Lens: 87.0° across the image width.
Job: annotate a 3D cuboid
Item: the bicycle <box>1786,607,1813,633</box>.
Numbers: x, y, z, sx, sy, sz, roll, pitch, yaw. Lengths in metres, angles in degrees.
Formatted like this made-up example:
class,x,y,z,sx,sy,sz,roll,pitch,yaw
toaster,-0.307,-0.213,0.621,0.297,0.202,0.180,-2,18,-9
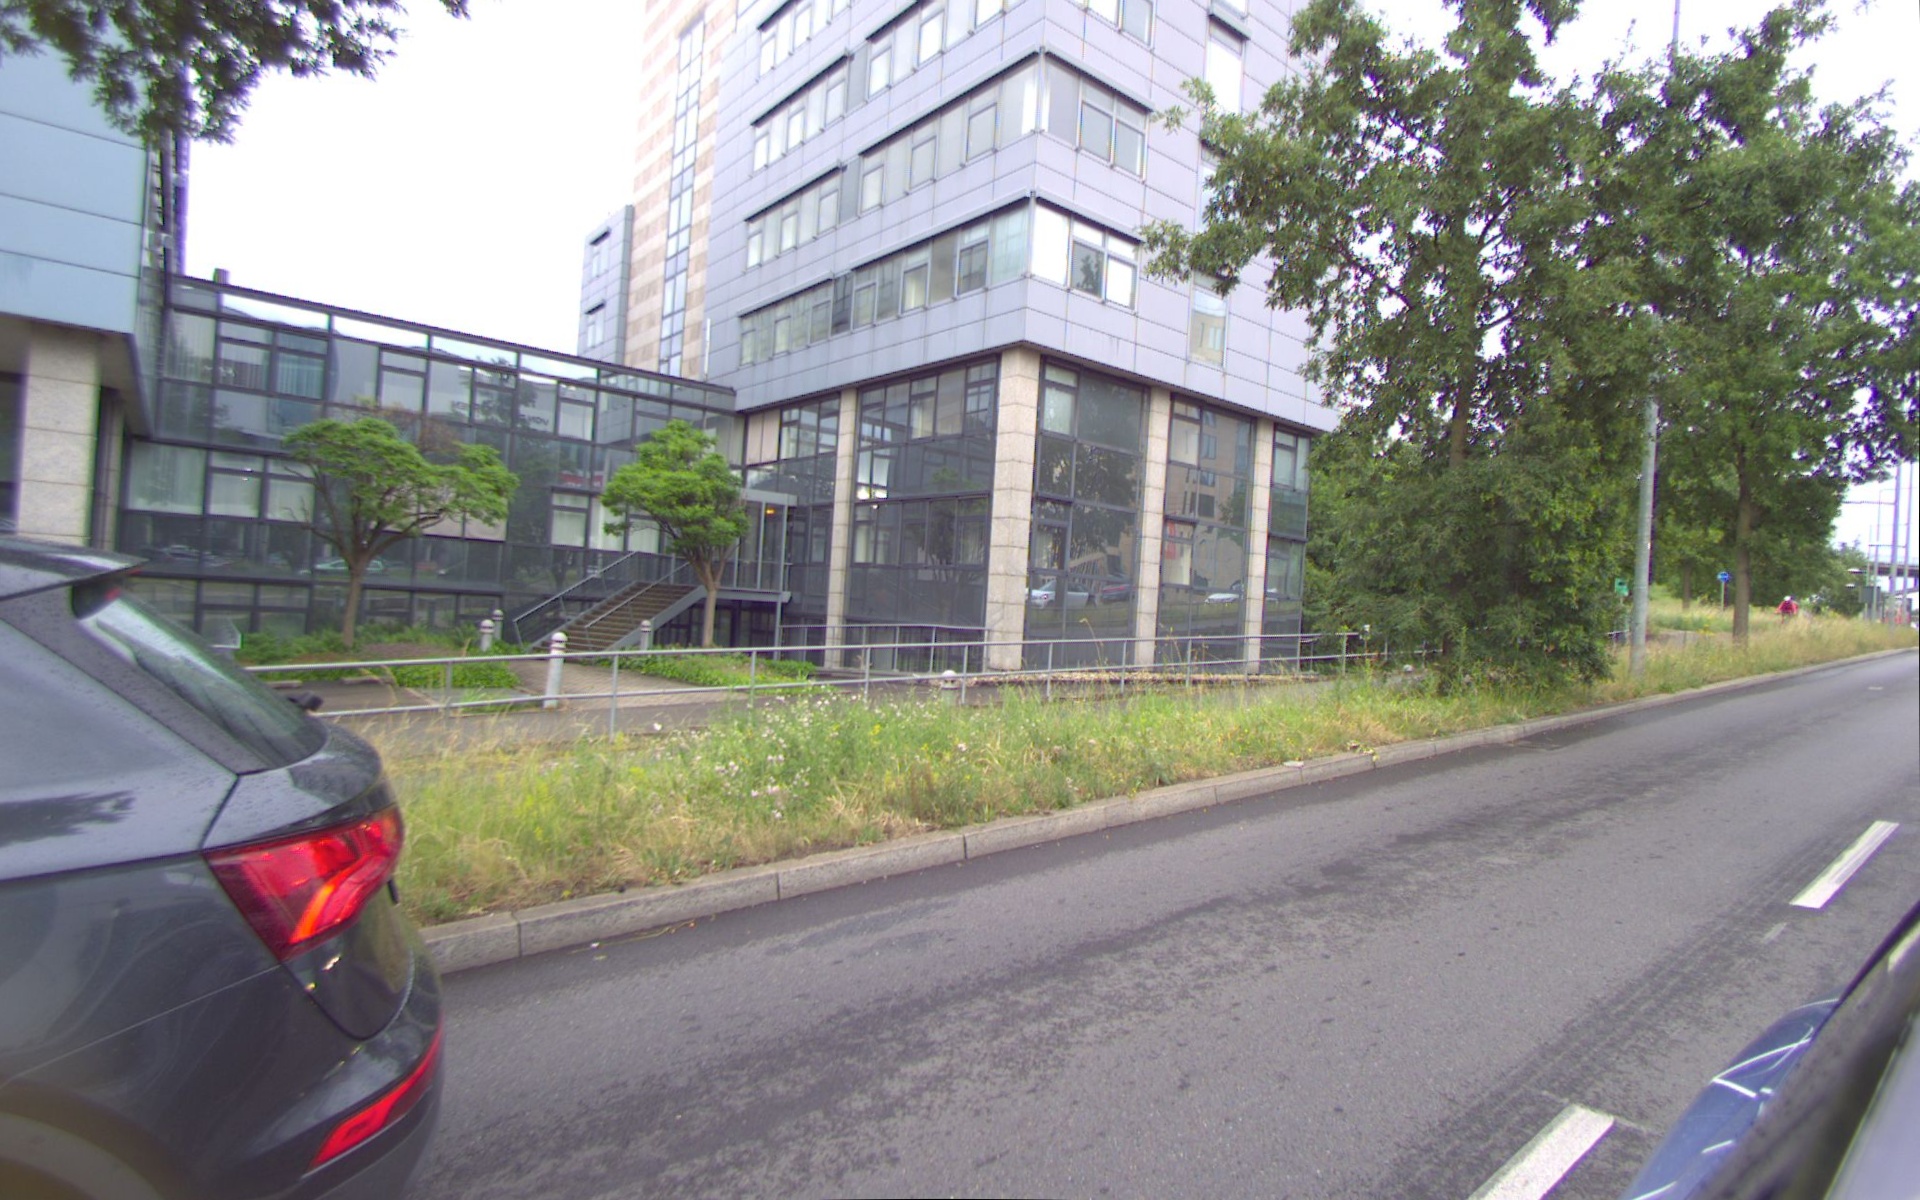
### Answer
class,x,y,z,sx,sy,sz,roll,pitch,yaw
bicycle,36.474,0.876,43.957,1.872,1.102,0.581,1,-1,-41

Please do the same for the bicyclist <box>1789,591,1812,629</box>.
class,x,y,z,sx,sy,sz,roll,pitch,yaw
bicyclist,36.487,0.435,43.946,0.839,1.599,0.647,1,-1,-41

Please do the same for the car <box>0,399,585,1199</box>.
class,x,y,z,sx,sy,sz,roll,pitch,yaw
car,-2.905,0.542,1.014,4.392,1.633,1.821,0,1,-41
